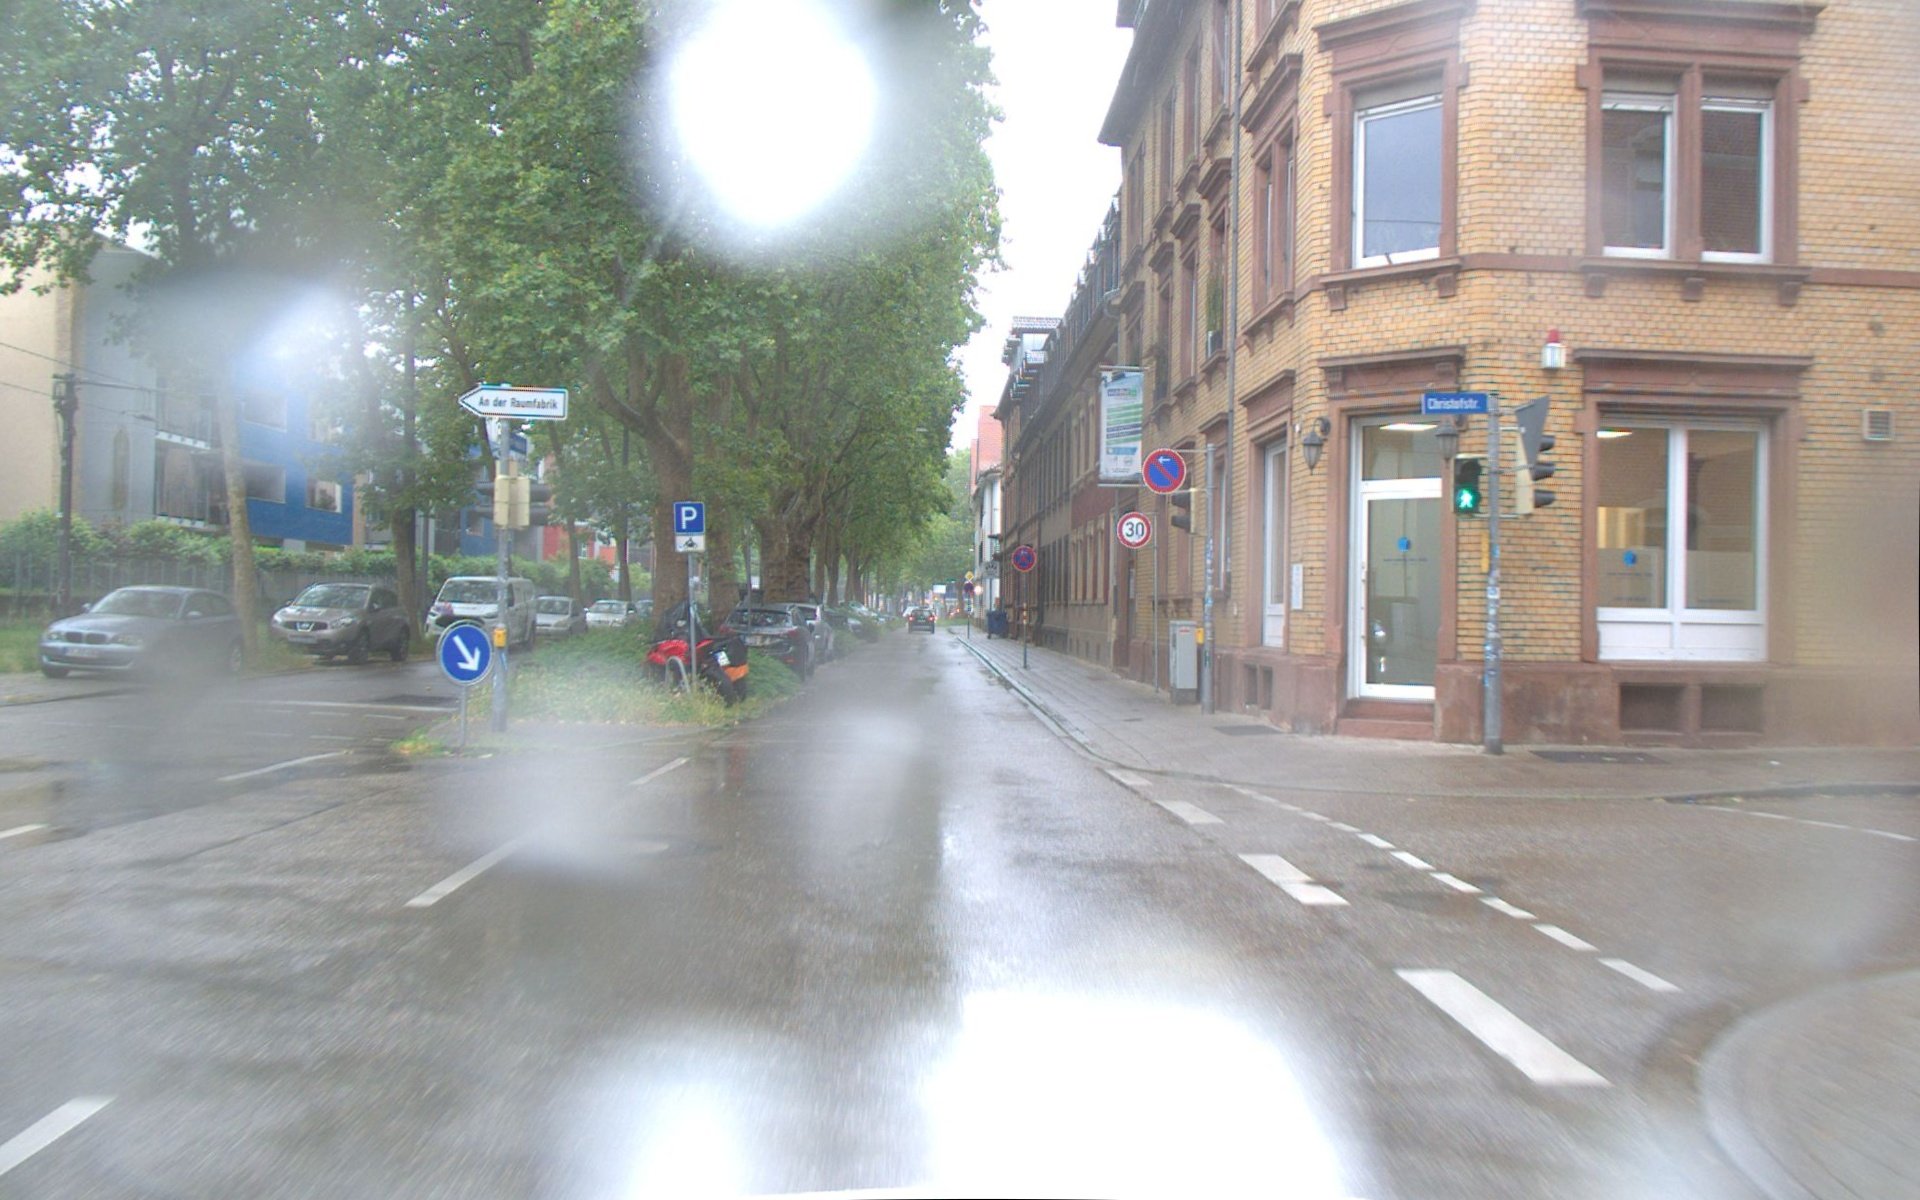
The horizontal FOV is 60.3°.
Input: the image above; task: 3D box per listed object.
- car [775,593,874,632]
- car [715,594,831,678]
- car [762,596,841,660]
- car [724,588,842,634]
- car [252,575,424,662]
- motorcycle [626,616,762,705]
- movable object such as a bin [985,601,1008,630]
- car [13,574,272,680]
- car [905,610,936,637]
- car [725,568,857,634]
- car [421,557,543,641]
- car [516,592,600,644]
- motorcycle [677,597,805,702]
[{"bbox_3d":[-5.902,0.552,71.989,3.976,1.564,1.832,2,0,29],"label":"car"},{"bbox_3d":[-3.709,0.677,33.503,1.858,1.511,4.620,2,0,-1],"label":"car"},{"bbox_3d":[-4.083,0.697,43.113,1.694,1.541,4.206,2,0,-1],"label":"car"},{"bbox_3d":[-5.748,0.342,53.731,3.423,1.461,1.780,0,0,26],"label":"car"},{"bbox_3d":[-12.672,0.359,34.005,1.865,1.628,4.466,1,0,-1],"label":"car"},{"bbox_3d":[-3.976,0.882,24.610,2.105,1.230,0.863,1,-1,43],"label":"motorcycle"},{"bbox_3d":[1.804,0.750,81.239,1.000,1.324,1.366,-2,0,-2],"label":"movable object such as a bin"},{"bbox_3d":[-12.707,0.393,26.067,1.865,1.489,4.388,1,0,0],"label":"car"},{"bbox_3d":[-2.593,1.497,107.767,1.953,1.668,3.998,2,-1,-2],"label":"car"},{"bbox_3d":[-6.231,0.030,60.699,4.561,2.323,2.007,0,0,32],"label":"car"},{"bbox_3d":[-12.757,-0.024,44.517,2.014,2.032,5.429,3,0,-5],"label":"car"},{"bbox_3d":[-13.009,0.563,53.757,1.866,1.561,4.213,1,0,-3],"label":"car"},{"bbox_3d":[-3.387,0.747,25.463,2.072,1.526,0.767,1,-1,42],"label":"motorcycle"}]
